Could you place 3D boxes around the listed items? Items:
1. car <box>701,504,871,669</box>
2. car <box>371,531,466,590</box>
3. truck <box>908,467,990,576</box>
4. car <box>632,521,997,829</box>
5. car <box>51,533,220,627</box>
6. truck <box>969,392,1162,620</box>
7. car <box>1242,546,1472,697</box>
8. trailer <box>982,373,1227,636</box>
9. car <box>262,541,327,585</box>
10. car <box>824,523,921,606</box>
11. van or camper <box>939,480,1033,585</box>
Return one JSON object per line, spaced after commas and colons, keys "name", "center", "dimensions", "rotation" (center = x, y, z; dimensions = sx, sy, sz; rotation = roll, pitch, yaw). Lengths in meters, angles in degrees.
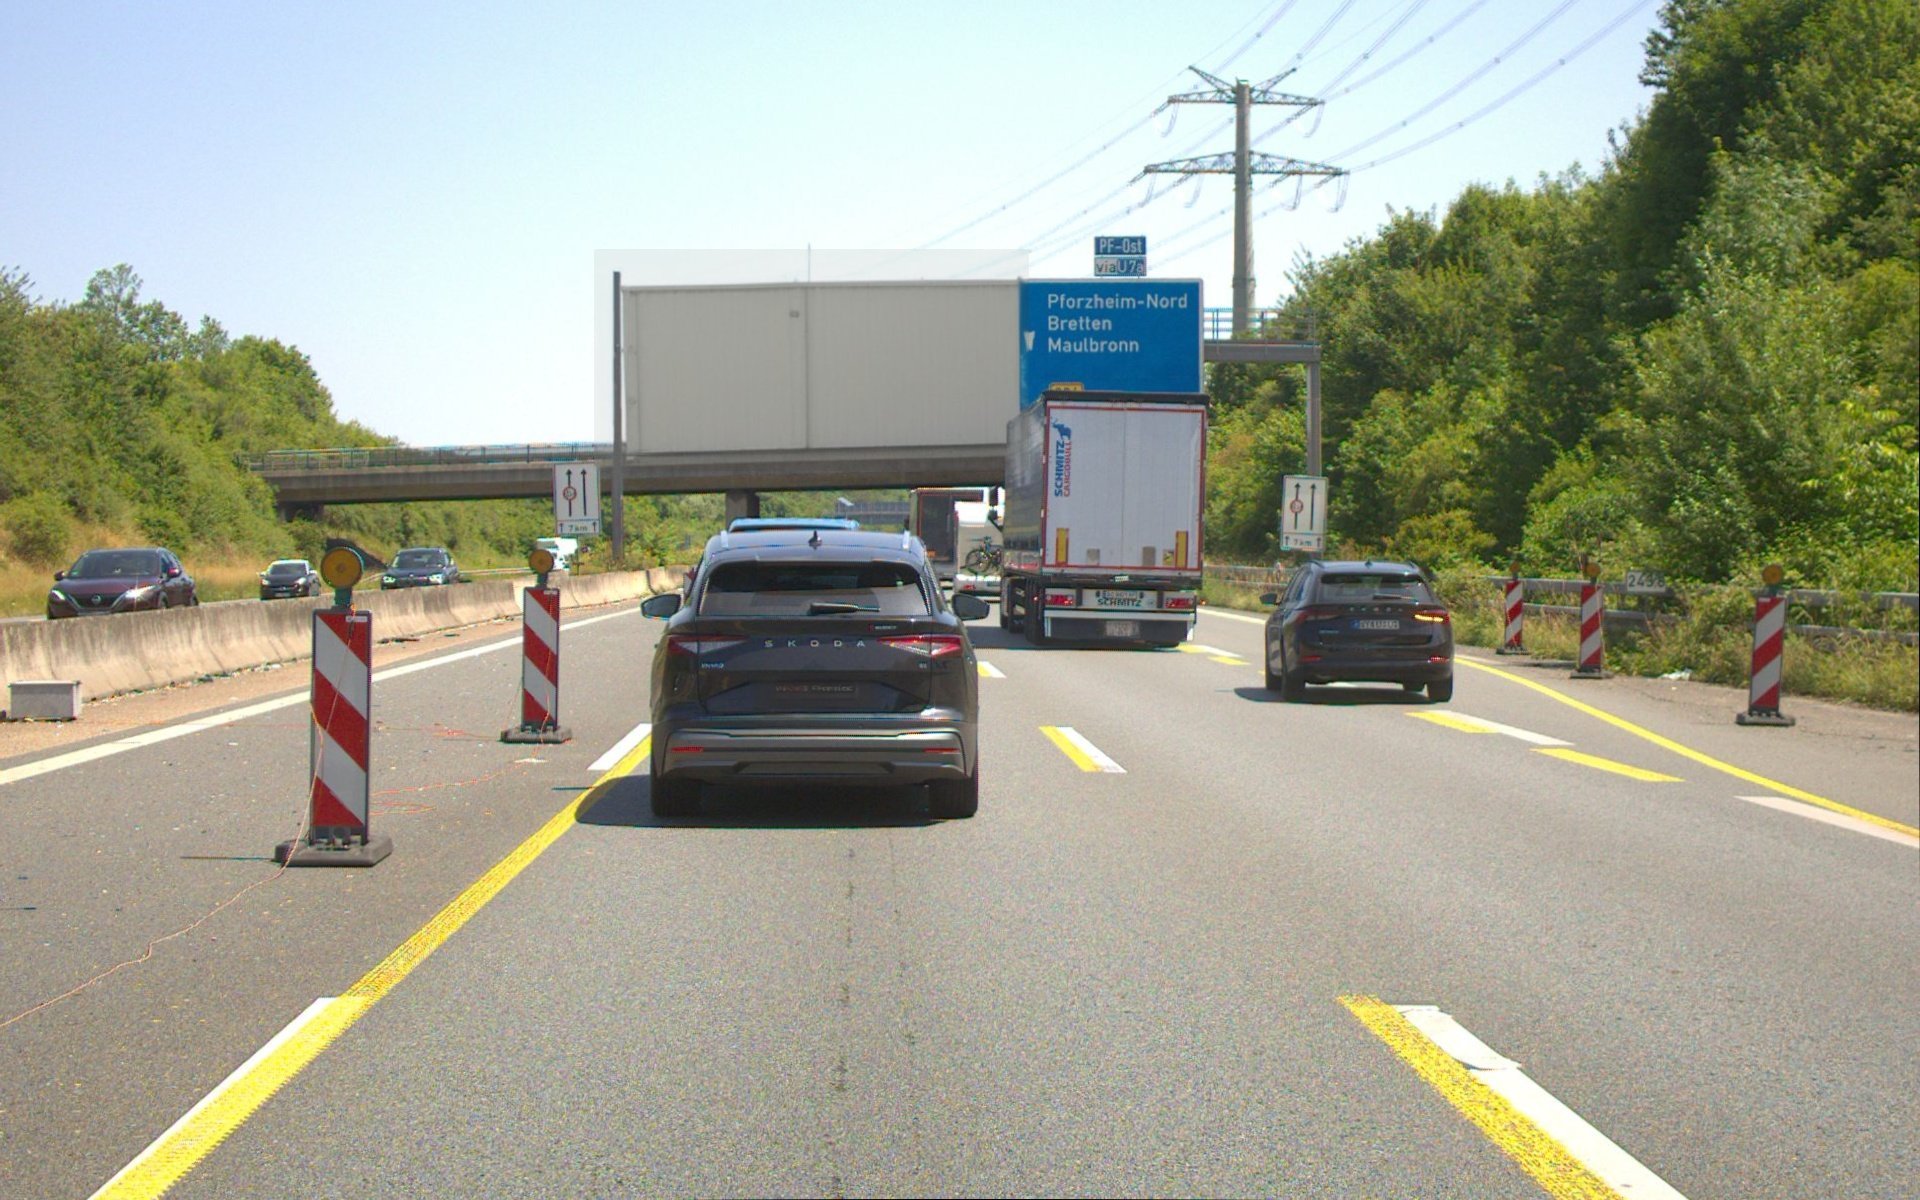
{"name": "car", "center": [-2.064, -0.152, 41.055], "dimensions": [1.895, 1.835, 4.443], "rotation": [1, 0, -3]}
{"name": "car", "center": [-15.004, -1.110, 95.471], "dimensions": [1.993, 1.594, 4.583], "rotation": [-1, 1, -1]}
{"name": "truck", "center": [-0.479, -3.138, 139.164], "dimensions": [3.077, 4.132, 13.055], "rotation": [1, 1, -1]}
{"name": "car", "center": [-0.866, 0.347, 20.393], "dimensions": [1.895, 1.586, 4.443], "rotation": [1, 1, -3]}
{"name": "car", "center": [-13.536, -0.360, 56.654], "dimensions": [1.848, 1.455, 4.489], "rotation": [-1, 1, -2]}
{"name": "truck", "center": [1.905, -1.765, 65.786], "dimensions": [3.024, 4.073, 7.796], "rotation": [1, 1, -3]}
{"name": "car", "center": [4.184, 0.181, 36.881], "dimensions": [1.779, 1.484, 4.464], "rotation": [1, 1, -2]}
{"name": "trailer", "center": [2.270, -1.576, 58.776], "dimensions": [3.065, 4.028, 11.489], "rotation": [1, 1, -3]}
{"name": "car", "center": [-23.055, -1.298, 119.210], "dimensions": [1.574, 1.459, 3.779], "rotation": [-1, 1, -1]}
{"name": "car", "center": [-1.875, -0.768, 72.528], "dimensions": [1.895, 1.504, 4.443], "rotation": [3, 3, -2]}
{"name": "van or camper", "center": [0.738, -2.015, 102.410], "dimensions": [2.586, 2.958, 6.085], "rotation": [2, 1, -1]}
